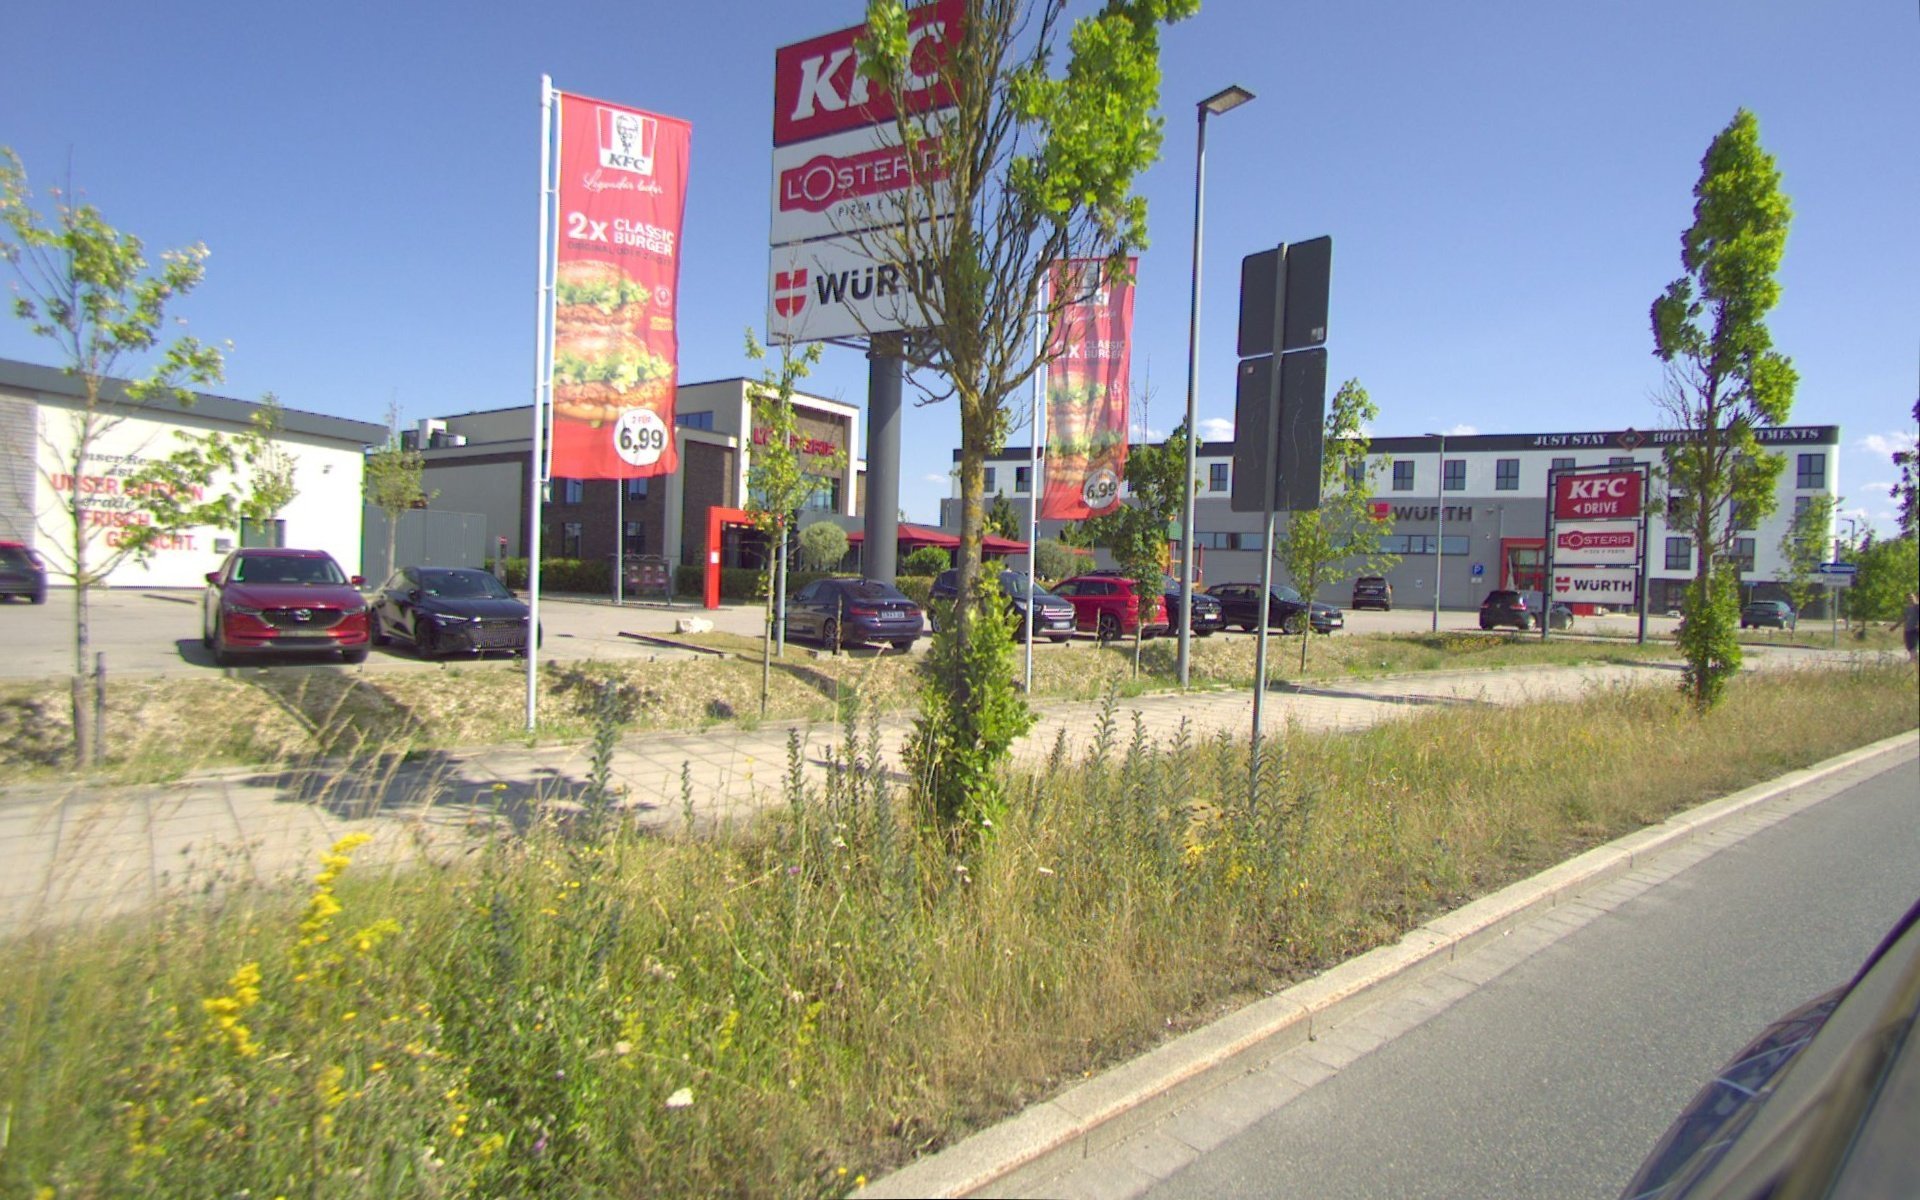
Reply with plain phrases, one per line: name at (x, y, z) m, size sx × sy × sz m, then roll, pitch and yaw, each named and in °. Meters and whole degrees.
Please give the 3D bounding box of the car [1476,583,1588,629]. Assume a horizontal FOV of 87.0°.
car at (20.645, 0.206, 36.506) m, size 4.087 × 1.559 × 1.787 m, roll 1°, pitch 1°, yaw -33°

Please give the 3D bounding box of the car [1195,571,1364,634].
car at (9.378, 0.039, 30.018) m, size 1.959 × 1.586 × 4.418 m, roll 1°, pitch 2°, yaw -38°

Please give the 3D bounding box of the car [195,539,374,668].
car at (-10.434, -0.031, 15.504) m, size 1.835 × 1.686 × 4.164 m, roll 1°, pitch 2°, yaw -40°

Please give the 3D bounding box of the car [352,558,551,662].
car at (-8.721, 0.103, 17.195) m, size 4.156 × 1.467 × 1.762 m, roll 4°, pitch 2°, yaw 44°

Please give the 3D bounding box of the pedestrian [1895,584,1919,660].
pedestrian at (21.186, 0.474, 22.182) m, size 0.849 × 1.649 × 0.812 m, roll 1°, pitch 0°, yaw -33°

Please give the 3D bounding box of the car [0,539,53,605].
car at (-23.489, -0.734, 24.117) m, size 4.542 × 1.449 × 1.845 m, roll 4°, pitch 2°, yaw 36°

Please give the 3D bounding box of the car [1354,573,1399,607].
car at (24.169, -0.563, 58.592) m, size 2.029 × 1.838 × 4.879 m, roll 2°, pitch 1°, yaw 26°

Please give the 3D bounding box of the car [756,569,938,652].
car at (-2.490, 0.158, 21.294) m, size 1.758 × 1.467 × 4.419 m, roll 1°, pitch 2°, yaw -37°

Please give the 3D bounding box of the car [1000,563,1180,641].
car at (3.281, -0.001, 26.161) m, size 4.408 × 1.756 × 1.763 m, roll 4°, pitch 2°, yaw 44°

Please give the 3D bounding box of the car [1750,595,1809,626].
car at (40.531, 0.532, 50.049) m, size 3.928 × 1.425 × 1.517 m, roll 1°, pitch 1°, yaw -40°

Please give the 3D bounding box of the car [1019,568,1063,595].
car at (5.573, -1.252, 69.055) m, size 1.684 × 1.779 × 4.074 m, roll 2°, pitch 1°, yaw 25°

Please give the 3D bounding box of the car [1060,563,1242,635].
car at (5.305, -0.086, 28.762) m, size 1.904 × 1.756 × 4.996 m, roll 1°, pitch 2°, yaw -38°

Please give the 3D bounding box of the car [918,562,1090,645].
car at (0.962, 0.024, 24.519) m, size 1.757 × 1.756 × 4.421 m, roll 1°, pitch 2°, yaw -36°
